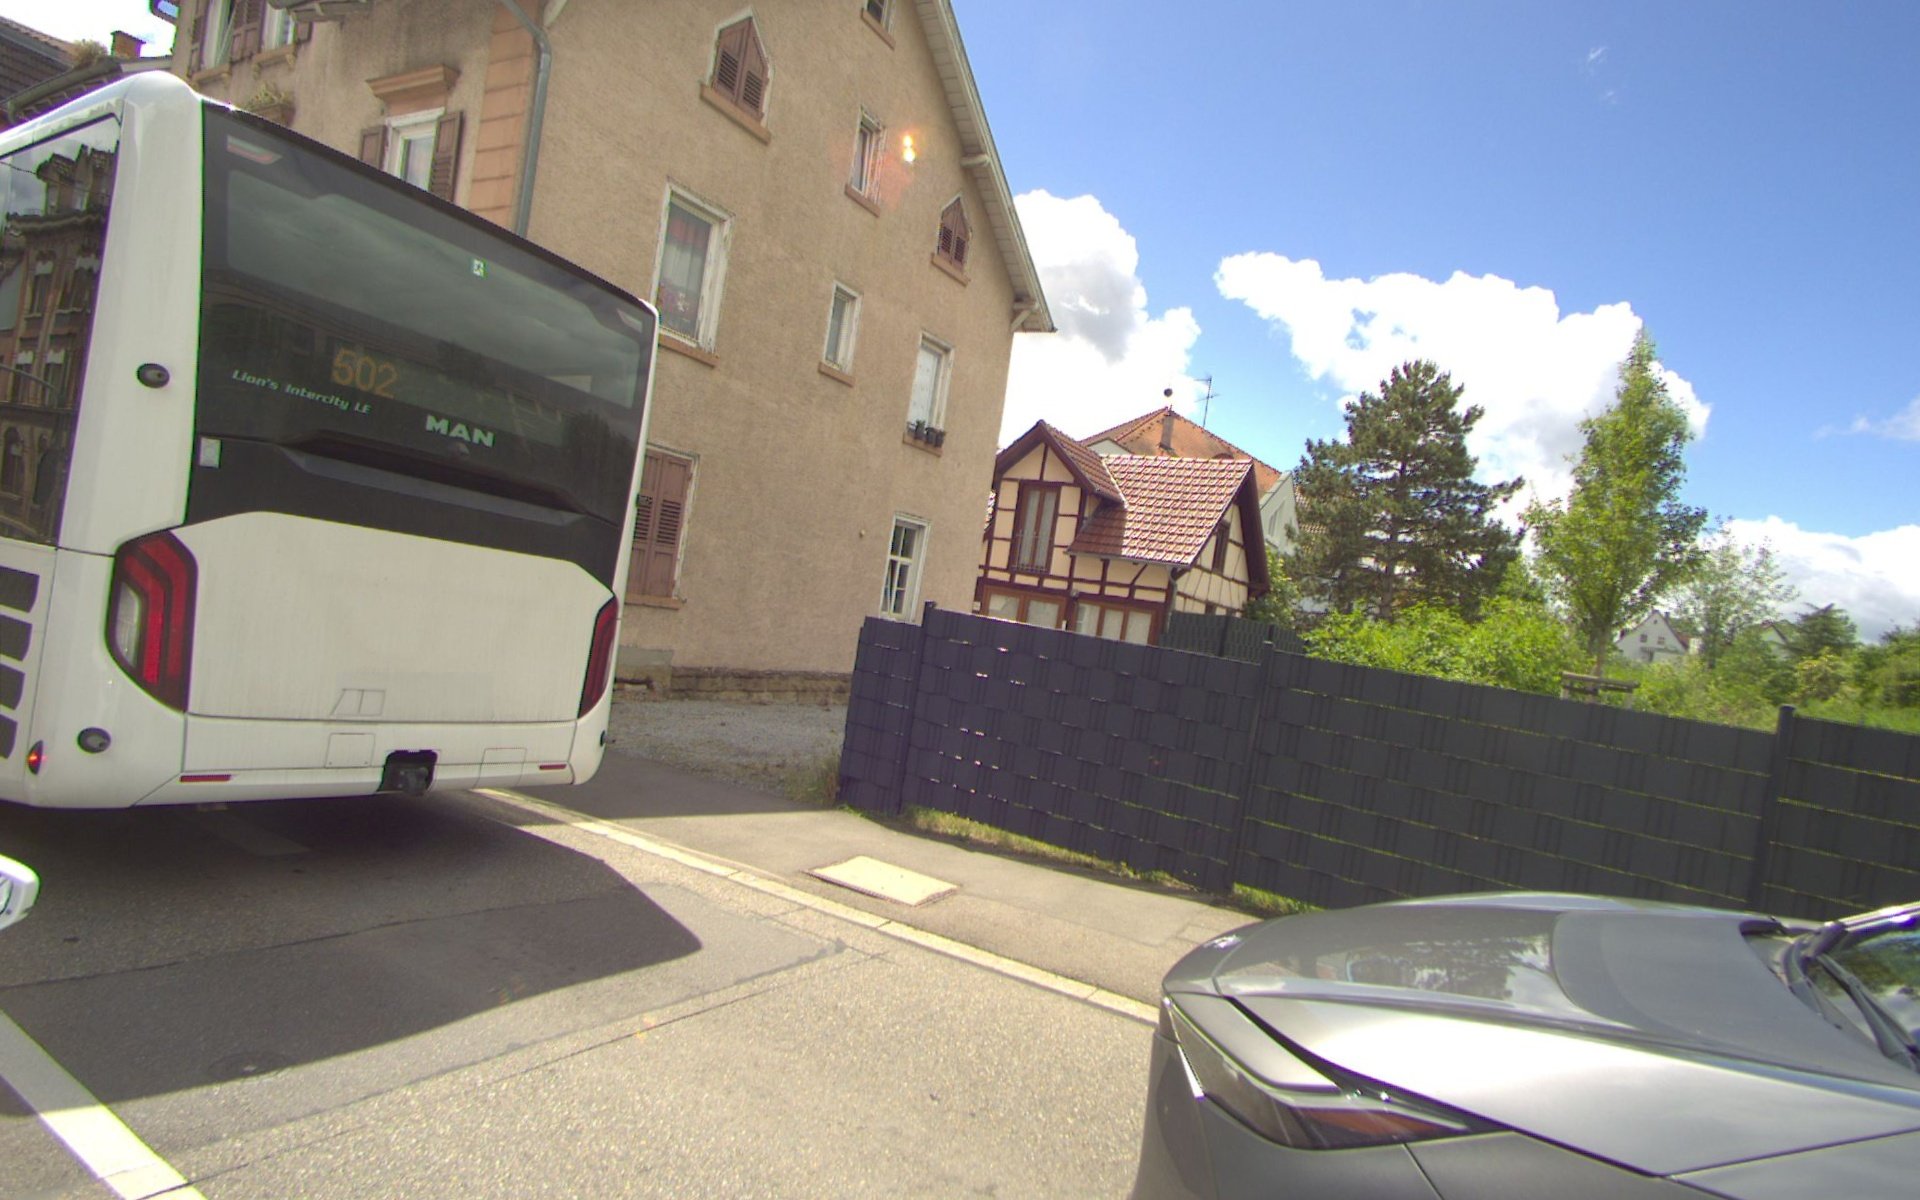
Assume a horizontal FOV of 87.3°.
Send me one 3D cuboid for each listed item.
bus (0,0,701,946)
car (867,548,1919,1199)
[{"bbox_3d":[-7.485,-0.914,7.764,12.255,3.194,2.676,7,0,32],"label":"bus"},{"bbox_3d":[2.313,1.070,1.342,4.605,1.631,1.924,7,-2,32],"label":"car"}]
